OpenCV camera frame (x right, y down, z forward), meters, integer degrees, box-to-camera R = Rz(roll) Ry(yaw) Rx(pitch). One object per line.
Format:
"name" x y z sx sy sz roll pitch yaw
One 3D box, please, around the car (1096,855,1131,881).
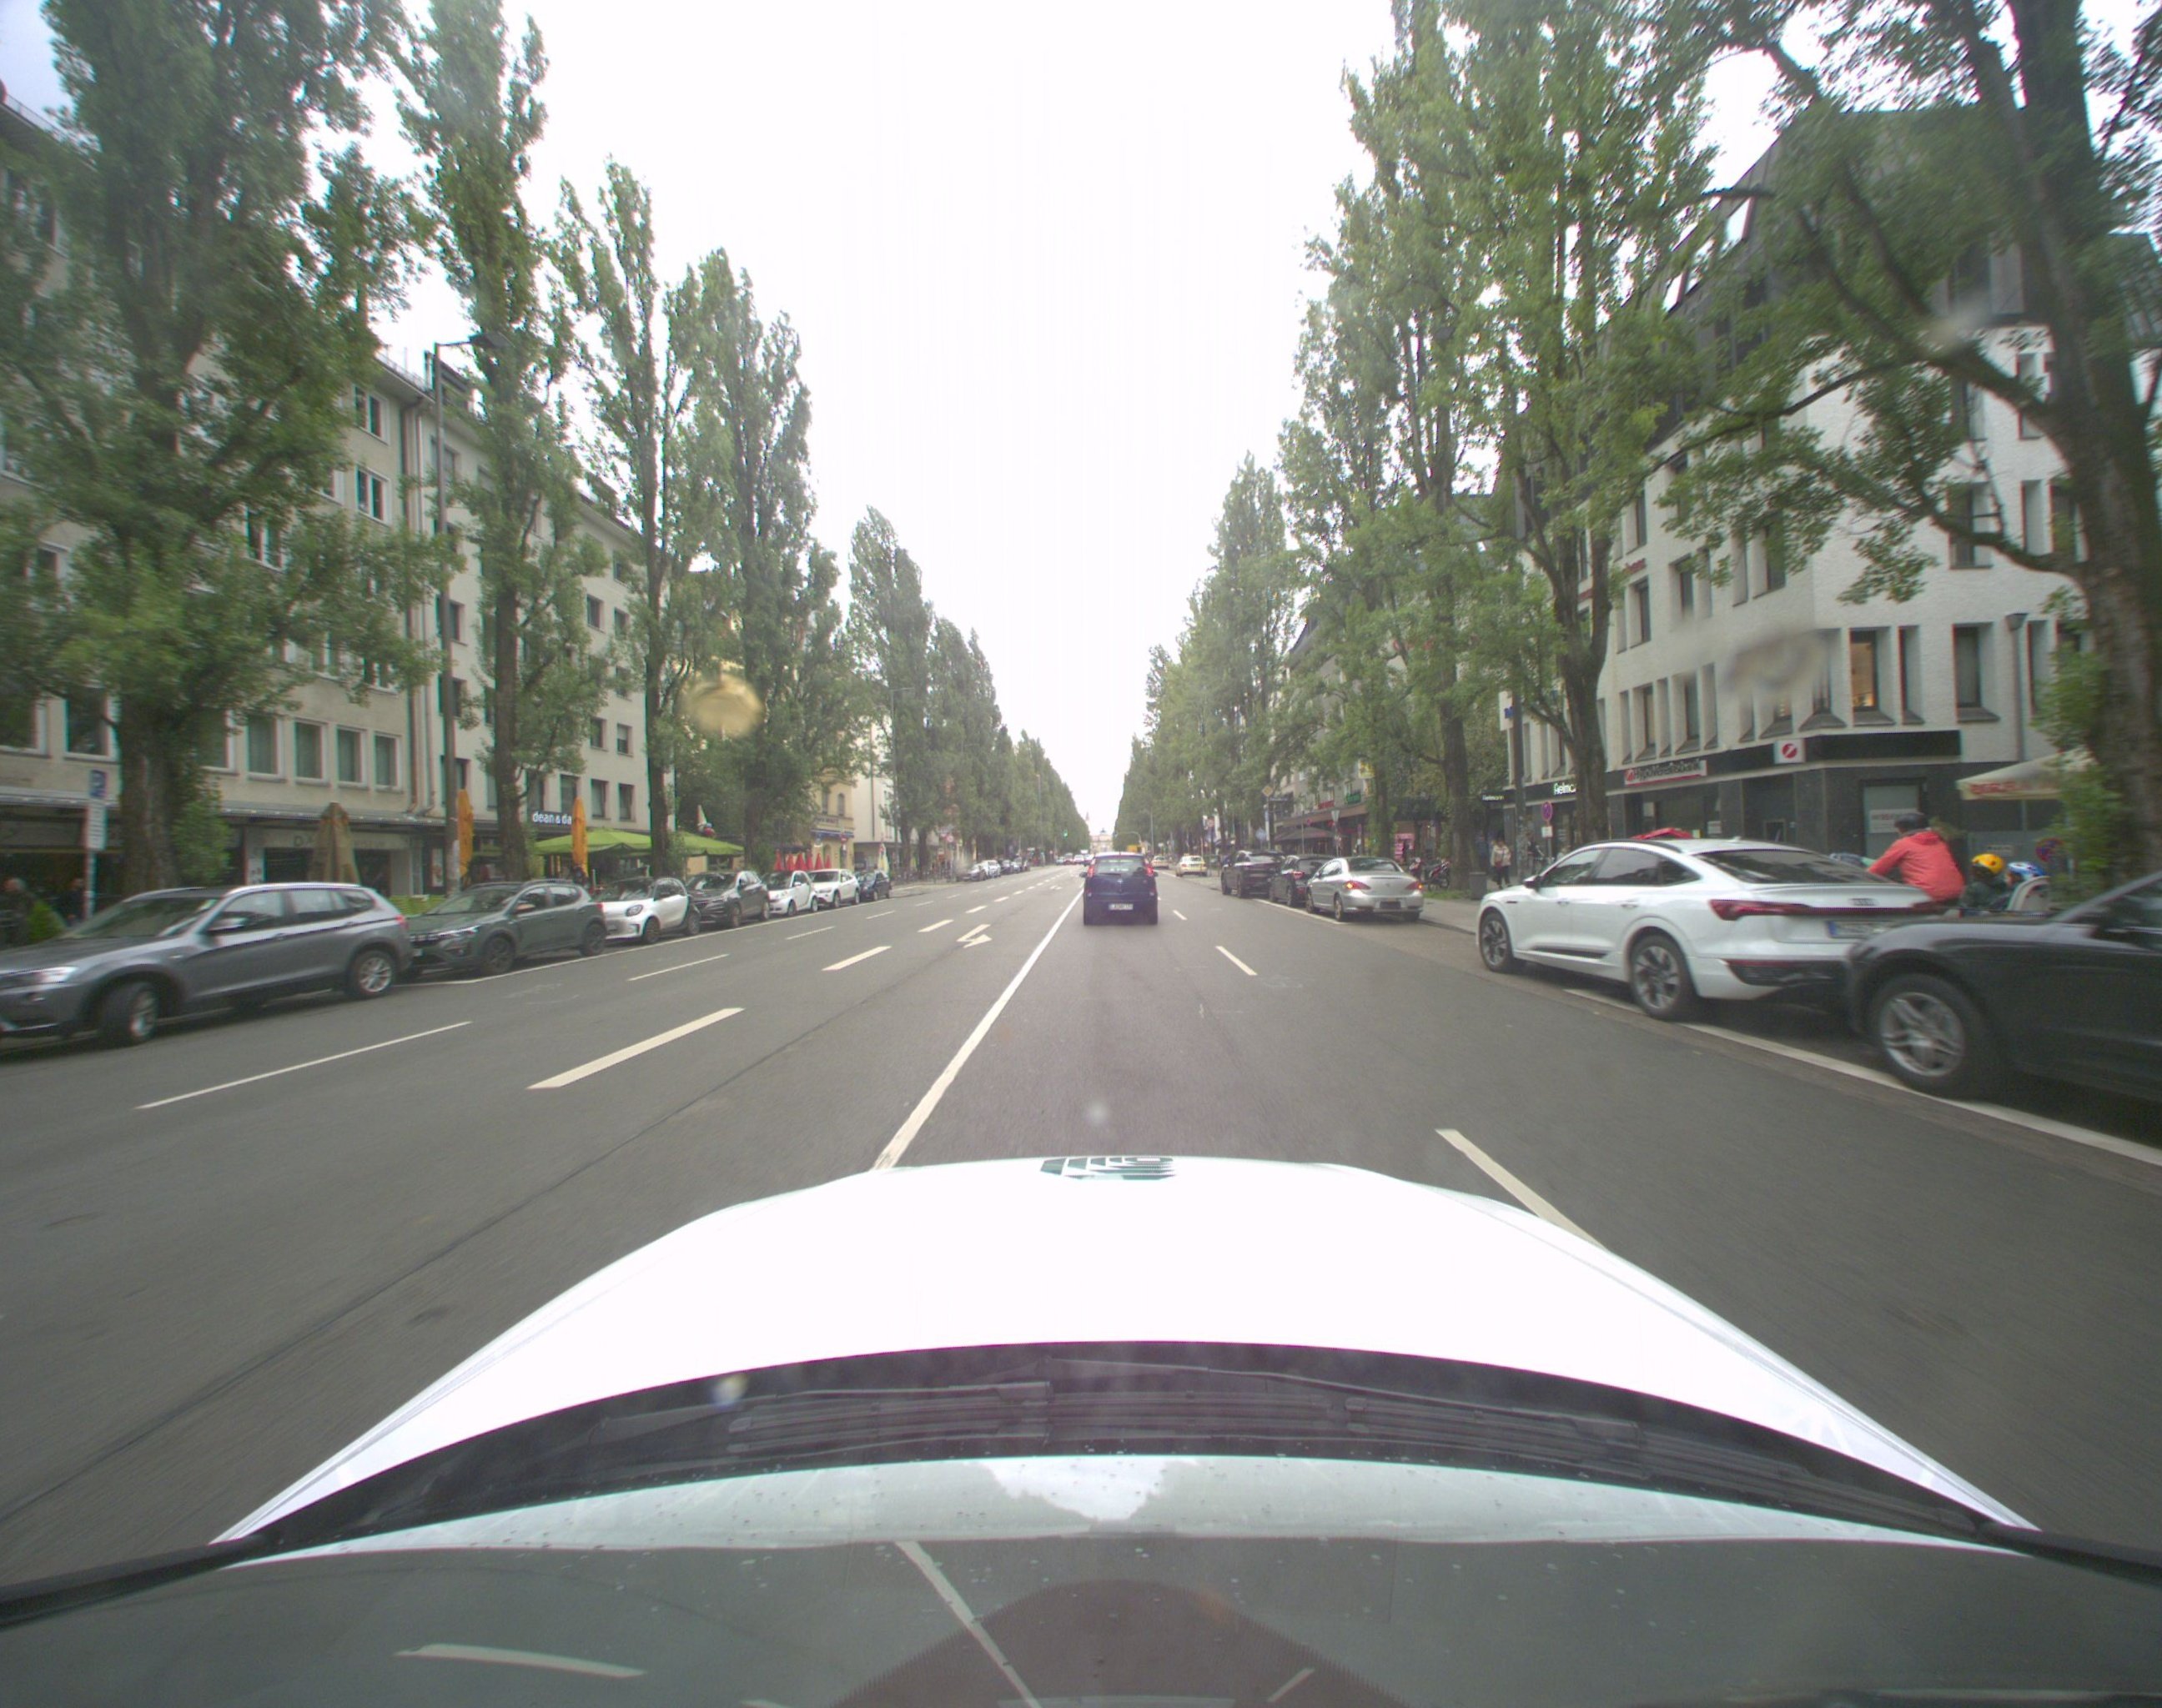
"car" 1.950 0.822 49.711 1.987 1.497 4.000 -2 0 1

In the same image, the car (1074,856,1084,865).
"car" -0.397 1.201 157.242 1.828 1.677 3.779 -2 0 1

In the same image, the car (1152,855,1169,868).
"car" 8.832 0.777 90.623 1.663 1.352 4.106 -2 0 2

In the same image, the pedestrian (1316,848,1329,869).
"pedestrian" 17.860 0.344 60.221 0.682 1.469 0.678 -2 -1 1

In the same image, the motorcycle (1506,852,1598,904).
"motorcycle" 11.306 0.573 19.577 1.826 1.139 0.694 -2 -1 -5

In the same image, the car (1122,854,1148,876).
"car" 4.104 0.823 62.221 1.700 1.574 4.001 -3 0 1

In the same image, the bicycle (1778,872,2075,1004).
"bicycle" 8.315 0.752 8.207 0.624 1.087 2.264 -2 0 1

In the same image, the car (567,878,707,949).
"car" -10.453 1.357 19.416 1.626 1.428 2.983 -2 0 0

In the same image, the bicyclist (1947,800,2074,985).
"bicyclist" 8.285 0.336 7.273 0.619 1.588 0.391 -2 -1 0

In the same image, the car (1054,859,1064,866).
"car" -4.992 1.849 184.220 1.955 1.549 3.779 -2 0 1

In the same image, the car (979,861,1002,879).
"car" -8.329 1.486 75.239 1.648 1.562 3.458 -2 0 1

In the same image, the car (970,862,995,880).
"car" -8.495 1.486 70.387 1.541 1.453 3.458 -2 0 1

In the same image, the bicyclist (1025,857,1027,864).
"bicyclist" -13.577 1.704 200.993 0.618 1.713 0.563 -2 -1 -5

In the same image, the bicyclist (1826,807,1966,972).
"bicyclist" 8.301 0.346 8.326 0.619 1.588 0.753 -2 -1 1

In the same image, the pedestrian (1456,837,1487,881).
"pedestrian" 14.884 0.186 31.041 0.736 1.627 0.762 0 -1 -12

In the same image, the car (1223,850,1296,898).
"car" 6.221 0.665 28.801 1.791 1.594 4.106 0 0 2

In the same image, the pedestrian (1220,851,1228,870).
"pedestrian" 12.166 0.556 69.169 0.650 1.627 0.705 -1 -1 6

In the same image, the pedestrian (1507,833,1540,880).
"pedestrian" 16.838 0.110 30.988 0.725 1.751 0.859 0 -1 -3

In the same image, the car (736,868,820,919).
"car" -10.251 1.300 27.779 1.566 1.534 2.925 -2 0 4

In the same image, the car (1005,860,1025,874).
"car" -7.885 1.571 97.830 1.955 1.549 3.779 -2 0 1

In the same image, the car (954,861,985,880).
"car" -8.791 1.265 64.383 1.824 1.420 3.812 -2 0 1

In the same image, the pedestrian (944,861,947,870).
"pedestrian" -17.277 1.422 103.556 0.287 1.090 0.259 -2 -1 7

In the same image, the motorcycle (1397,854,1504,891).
"motorcycle" 12.459 0.607 27.495 3.115 1.090 1.191 -2 0 -6

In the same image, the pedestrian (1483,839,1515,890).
"pedestrian" 13.336 0.323 25.986 0.651 1.601 0.705 -1 -1 2

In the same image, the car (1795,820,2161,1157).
"car" 5.976 0.590 3.450 1.987 1.565 4.484 -2 0 1

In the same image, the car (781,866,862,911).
"car" -10.021 1.301 31.796 1.829 1.546 4.085 -2 0 0

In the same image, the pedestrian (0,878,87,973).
"pedestrian" -20.643 1.379 15.962 0.848 1.744 1.148 -2 0 2

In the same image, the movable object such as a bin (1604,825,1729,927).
"movable object such as a bin" 10.580 0.381 14.796 1.030 1.703 1.585 -2 0 -2

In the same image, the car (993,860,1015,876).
"car" -8.200 1.492 87.151 1.955 1.530 4.000 -2 0 0

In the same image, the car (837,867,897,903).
"car" -9.680 1.367 37.034 1.579 1.447 3.394 -2 0 4

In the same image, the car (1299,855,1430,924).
"car" 6.413 0.739 18.907 1.664 1.406 4.128 0 0 1

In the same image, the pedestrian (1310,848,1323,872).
"pedestrian" 15.501 0.407 53.563 0.638 1.526 0.484 -2 -1 1

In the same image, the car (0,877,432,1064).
"car" -10.862 1.227 10.057 1.858 1.654 4.615 -4 0 0

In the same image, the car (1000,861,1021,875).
"car" -8.031 1.589 93.135 1.955 1.399 3.779 -2 0 1

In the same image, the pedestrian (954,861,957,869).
"pedestrian" -15.918 1.405 103.091 0.287 1.090 0.259 -2 -1 7

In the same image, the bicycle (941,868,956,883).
"bicycle" -9.546 1.538 58.784 0.664 1.006 2.460 -2 0 -2

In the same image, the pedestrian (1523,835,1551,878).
"pedestrian" 18.012 0.101 32.168 0.652 1.626 0.704 -2 0 -1

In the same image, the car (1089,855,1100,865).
"car" 2.287 1.051 141.072 1.828 1.761 3.779 -2 0 1

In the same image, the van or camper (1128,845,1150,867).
"van or camper" 7.129 0.233 101.227 2.467 2.581 5.847 -2 0 2

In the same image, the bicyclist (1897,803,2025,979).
"bicyclist" 8.295 0.340 7.696 0.619 1.588 0.481 -2 -1 1

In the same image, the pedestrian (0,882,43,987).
"pedestrian" -18.613 1.381 13.677 0.848 1.744 1.148 -2 0 2

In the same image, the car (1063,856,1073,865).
"car" -2.727 1.338 169.388 1.828 1.739 3.779 -2 0 1

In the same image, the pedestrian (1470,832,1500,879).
"pedestrian" 16.265 0.064 32.781 0.790 1.812 0.682 -2 -1 -1

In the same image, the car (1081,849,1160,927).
"car" 0.875 0.731 19.558 1.675 1.641 4.000 -1 0 1

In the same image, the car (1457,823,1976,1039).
"car" 5.940 0.594 8.584 1.821 1.621 4.748 -1 0 1

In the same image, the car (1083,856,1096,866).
"car" 1.409 1.105 128.257 1.955 1.399 3.779 -2 0 1

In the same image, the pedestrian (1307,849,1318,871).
"pedestrian" 16.522 0.447 58.079 0.638 1.526 0.484 -2 -1 1

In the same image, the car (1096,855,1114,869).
"car" 2.704 0.912 93.379 1.987 1.497 4.000 -2 0 1

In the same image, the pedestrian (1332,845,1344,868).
"pedestrian" 18.016 0.178 57.085 0.638 1.526 0.484 -2 -1 1

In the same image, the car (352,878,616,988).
"car" -10.497 1.287 14.766 1.692 1.550 4.082 -2 0 0

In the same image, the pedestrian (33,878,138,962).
"pedestrian" -21.878 1.419 17.927 0.848 1.744 1.148 -1 0 2

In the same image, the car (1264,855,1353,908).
"car" 6.585 0.755 23.925 1.676 1.415 3.583 0 0 1

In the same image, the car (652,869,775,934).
"car" -10.411 1.287 23.438 1.837 1.565 4.173 -2 0 -4

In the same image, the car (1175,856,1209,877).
"car" 7.560 0.829 55.906 1.890 1.362 3.901 -2 0 2

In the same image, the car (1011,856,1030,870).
"car" -7.684 1.128 104.013 1.987 1.662 4.000 -2 0 1

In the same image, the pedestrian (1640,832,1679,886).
"pedestrian" 17.915 0.139 25.229 0.652 1.626 0.704 -2 -1 -1
